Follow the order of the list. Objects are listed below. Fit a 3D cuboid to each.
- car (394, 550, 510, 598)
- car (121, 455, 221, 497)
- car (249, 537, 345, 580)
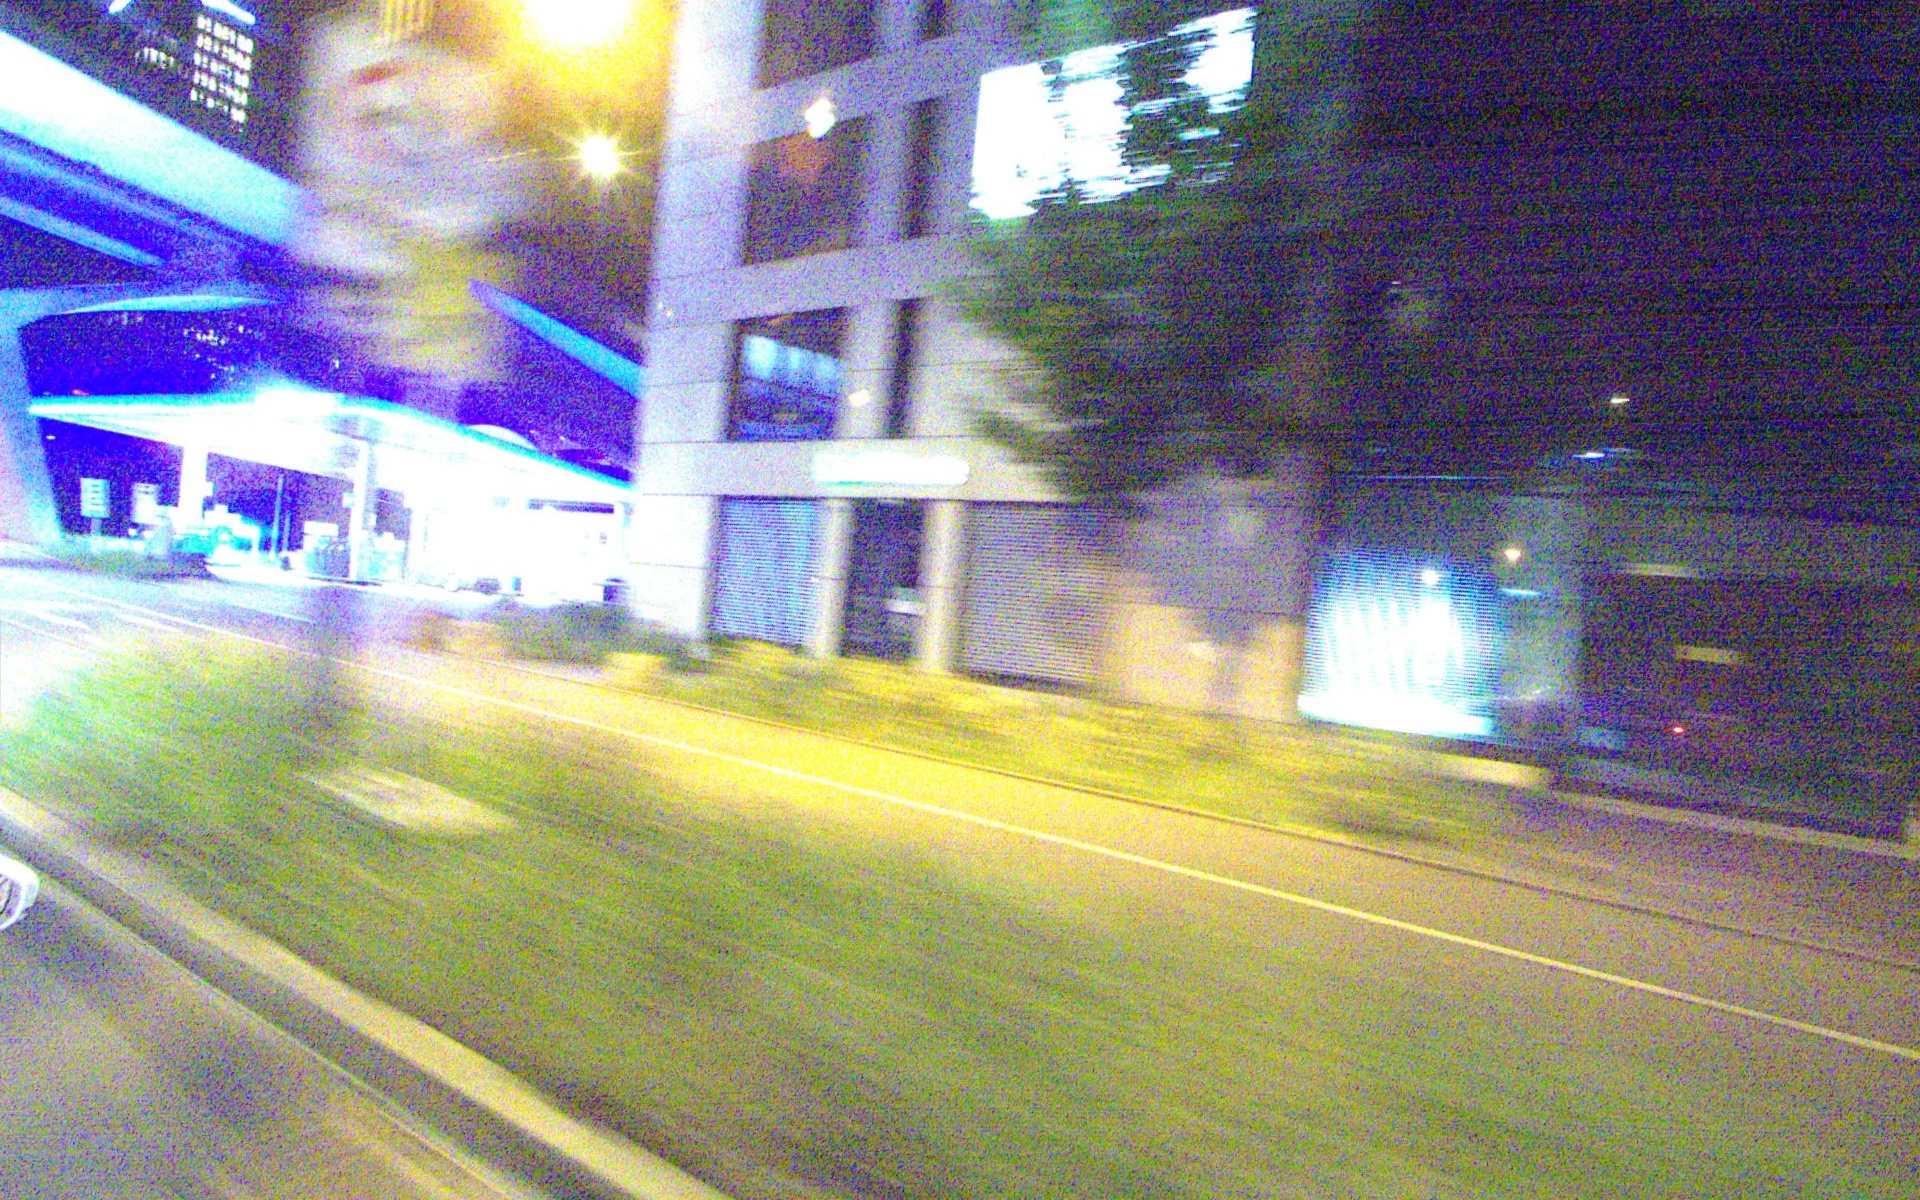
[{"bbox_3d":[-20.304,-1.044,40.164,4.259,1.379,1.931,6,-1,28],"label":"car"},{"bbox_3d":[-50.805,-7.966,64.867,1.966,1.934,4.583,6,0,28],"label":"car"},{"bbox_3d":[-29.553,-1.852,44.809,3.997,1.374,1.658,6,-2,26],"label":"car"}]
